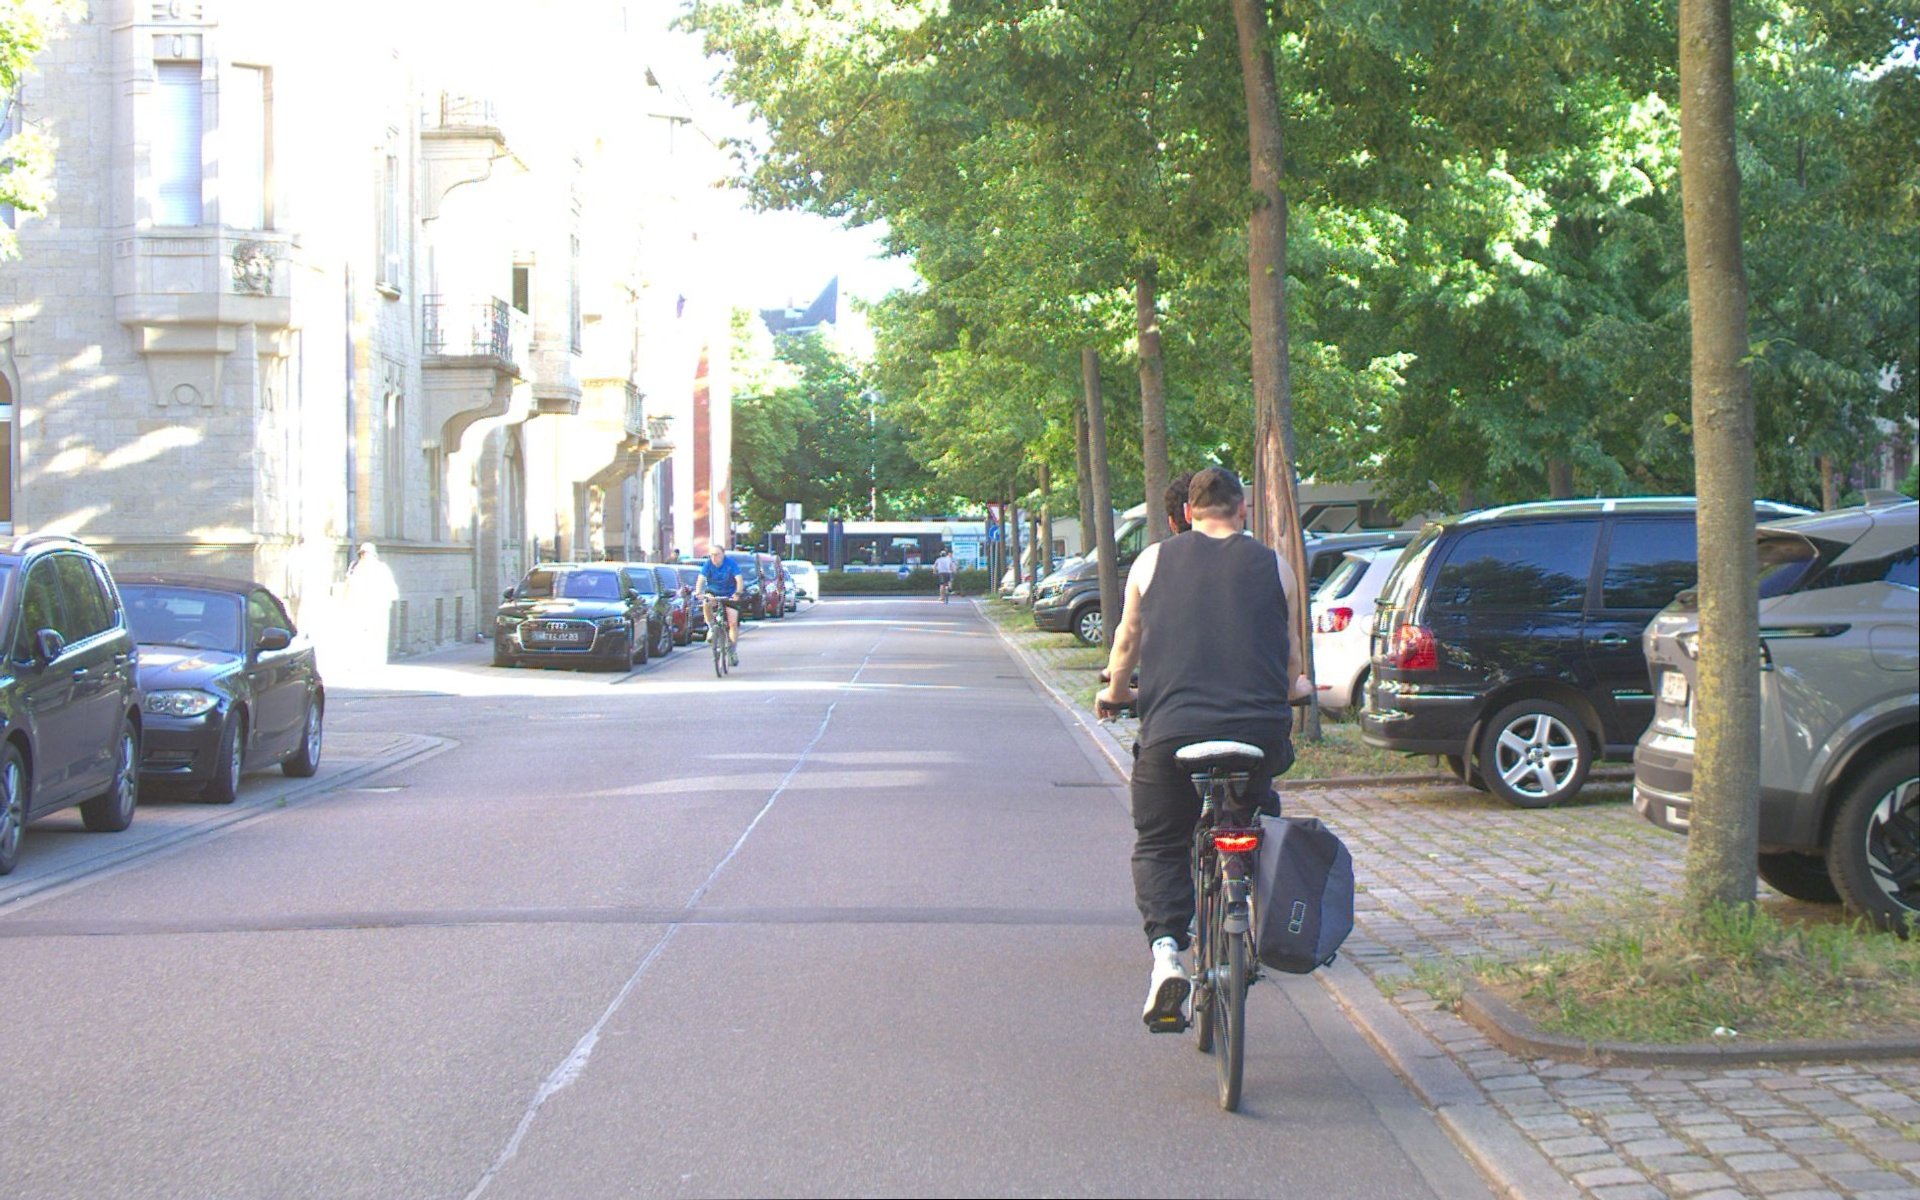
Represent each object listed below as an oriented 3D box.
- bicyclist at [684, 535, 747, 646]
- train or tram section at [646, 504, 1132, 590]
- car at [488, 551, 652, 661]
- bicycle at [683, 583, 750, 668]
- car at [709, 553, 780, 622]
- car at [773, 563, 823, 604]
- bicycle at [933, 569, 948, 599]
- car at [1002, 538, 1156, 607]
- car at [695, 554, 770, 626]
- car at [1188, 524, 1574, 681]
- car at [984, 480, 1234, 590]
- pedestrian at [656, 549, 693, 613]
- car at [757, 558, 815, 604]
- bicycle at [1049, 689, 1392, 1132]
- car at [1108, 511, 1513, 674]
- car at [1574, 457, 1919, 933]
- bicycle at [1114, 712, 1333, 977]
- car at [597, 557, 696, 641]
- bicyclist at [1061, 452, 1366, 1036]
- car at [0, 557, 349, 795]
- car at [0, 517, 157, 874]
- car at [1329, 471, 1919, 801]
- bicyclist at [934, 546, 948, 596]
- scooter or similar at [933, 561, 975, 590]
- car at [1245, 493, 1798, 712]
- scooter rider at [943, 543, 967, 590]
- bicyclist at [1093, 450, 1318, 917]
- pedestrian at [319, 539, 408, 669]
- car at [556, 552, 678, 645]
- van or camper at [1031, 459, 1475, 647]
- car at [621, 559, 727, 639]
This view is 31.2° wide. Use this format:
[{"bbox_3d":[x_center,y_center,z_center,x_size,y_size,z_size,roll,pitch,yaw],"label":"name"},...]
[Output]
[{"bbox_3d":[-3.268,-0.128,45.997,0.759,1.449,0.949,-1,0,-1],"label":"bicyclist"},{"bbox_3d":[-3.300,-2.541,168.558,23.799,3.696,4.287,1,0,-22],"label":"train or tram section"},{"bbox_3d":[-5.502,0.063,49.055,1.811,1.422,4.898,2,0,-1],"label":"car"},{"bbox_3d":[-3.262,0.330,46.127,0.757,1.104,1.907,-1,0,-1],"label":"bicycle"},{"bbox_3d":[-6.083,-0.376,97.595,1.689,1.819,4.273,2,1,0],"label":"car"},{"bbox_3d":[-5.954,-0.614,126.413,1.583,1.371,4.131,2,1,0],"label":"car"},{"bbox_3d":[-0.689,-0.553,120.738,0.498,1.002,1.474,0,-1,0],"label":"bicycle"},{"bbox_3d":[3.276,-0.761,95.356,4.082,1.644,1.641,-3,0,-2],"label":"car"},{"bbox_3d":[-5.995,-0.286,91.121,1.640,1.777,4.354,2,1,0],"label":"car"},{"bbox_3d":[4.682,0.010,38.621,4.068,1.471,1.694,-4,2,1],"label":"car"},{"bbox_3d":[4.419,-1.921,102.692,7.146,2.968,2.465,-2,0,-3],"label":"car"},{"bbox_3d":[-7.854,-0.532,94.586,0.938,1.736,0.735,1,0,1],"label":"pedestrian"},{"bbox_3d":[-5.497,-0.615,108.715,1.583,1.339,4.131,2,1,0],"label":"car"},{"bbox_3d":[0.682,0.806,9.627,0.737,1.050,1.956,1,0,-1],"label":"bicycle"},{"bbox_3d":[4.143,-0.102,41.161,4.619,1.704,1.833,-2,1,1],"label":"car"},{"bbox_3d":[4.801,0.206,13.092,4.475,1.628,1.875,-4,1,-1],"label":"car"},{"bbox_3d":[0.935,0.857,12.561,0.633,0.796,1.832,-1,1,0],"label":"bicycle"},{"bbox_3d":[-5.706,-0.037,62.858,1.628,1.448,3.838,1,1,-3],"label":"car"},{"bbox_3d":[0.692,0.386,9.633,0.730,1.542,0.884,1,0,-1],"label":"bicyclist"},{"bbox_3d":[-5.341,0.447,23.201,1.635,1.406,4.333,2,0,0],"label":"car"},{"bbox_3d":[-5.394,0.430,17.665,1.669,1.675,4.350,0,0,-2],"label":"car"},{"bbox_3d":[4.600,0.146,20.333,4.581,1.671,1.907,-4,1,2],"label":"car"},{"bbox_3d":[-0.671,-1.013,120.773,0.486,1.738,0.656,1,0,0],"label":"bicyclist"},{"bbox_3d":[-0.233,-0.959,135.481,1.598,1.143,0.678,1,0,-5],"label":"scooter or similar"},{"bbox_3d":[5.033,0.007,31.130,4.538,1.628,1.813,-4,1,-6],"label":"car"},{"bbox_3d":[-0.213,-1.314,135.490,0.871,1.835,0.671,1,0,-5],"label":"scooter rider"},{"bbox_3d":[0.878,0.287,12.530,0.689,1.621,0.998,1,0,-2],"label":"bicyclist"},{"bbox_3d":[-7.478,0.038,43.129,0.888,1.571,1.053,-2,1,0],"label":"pedestrian"},{"bbox_3d":[-5.510,-0.024,55.597,1.696,1.448,4.028,0,0,-2],"label":"car"},{"bbox_3d":[4.846,-0.791,57.770,7.147,2.638,2.464,-4,1,2],"label":"van or camper"},{"bbox_3d":[-5.607,-0.046,67.854,1.675,1.425,4.550,2,1,0],"label":"car"}]
